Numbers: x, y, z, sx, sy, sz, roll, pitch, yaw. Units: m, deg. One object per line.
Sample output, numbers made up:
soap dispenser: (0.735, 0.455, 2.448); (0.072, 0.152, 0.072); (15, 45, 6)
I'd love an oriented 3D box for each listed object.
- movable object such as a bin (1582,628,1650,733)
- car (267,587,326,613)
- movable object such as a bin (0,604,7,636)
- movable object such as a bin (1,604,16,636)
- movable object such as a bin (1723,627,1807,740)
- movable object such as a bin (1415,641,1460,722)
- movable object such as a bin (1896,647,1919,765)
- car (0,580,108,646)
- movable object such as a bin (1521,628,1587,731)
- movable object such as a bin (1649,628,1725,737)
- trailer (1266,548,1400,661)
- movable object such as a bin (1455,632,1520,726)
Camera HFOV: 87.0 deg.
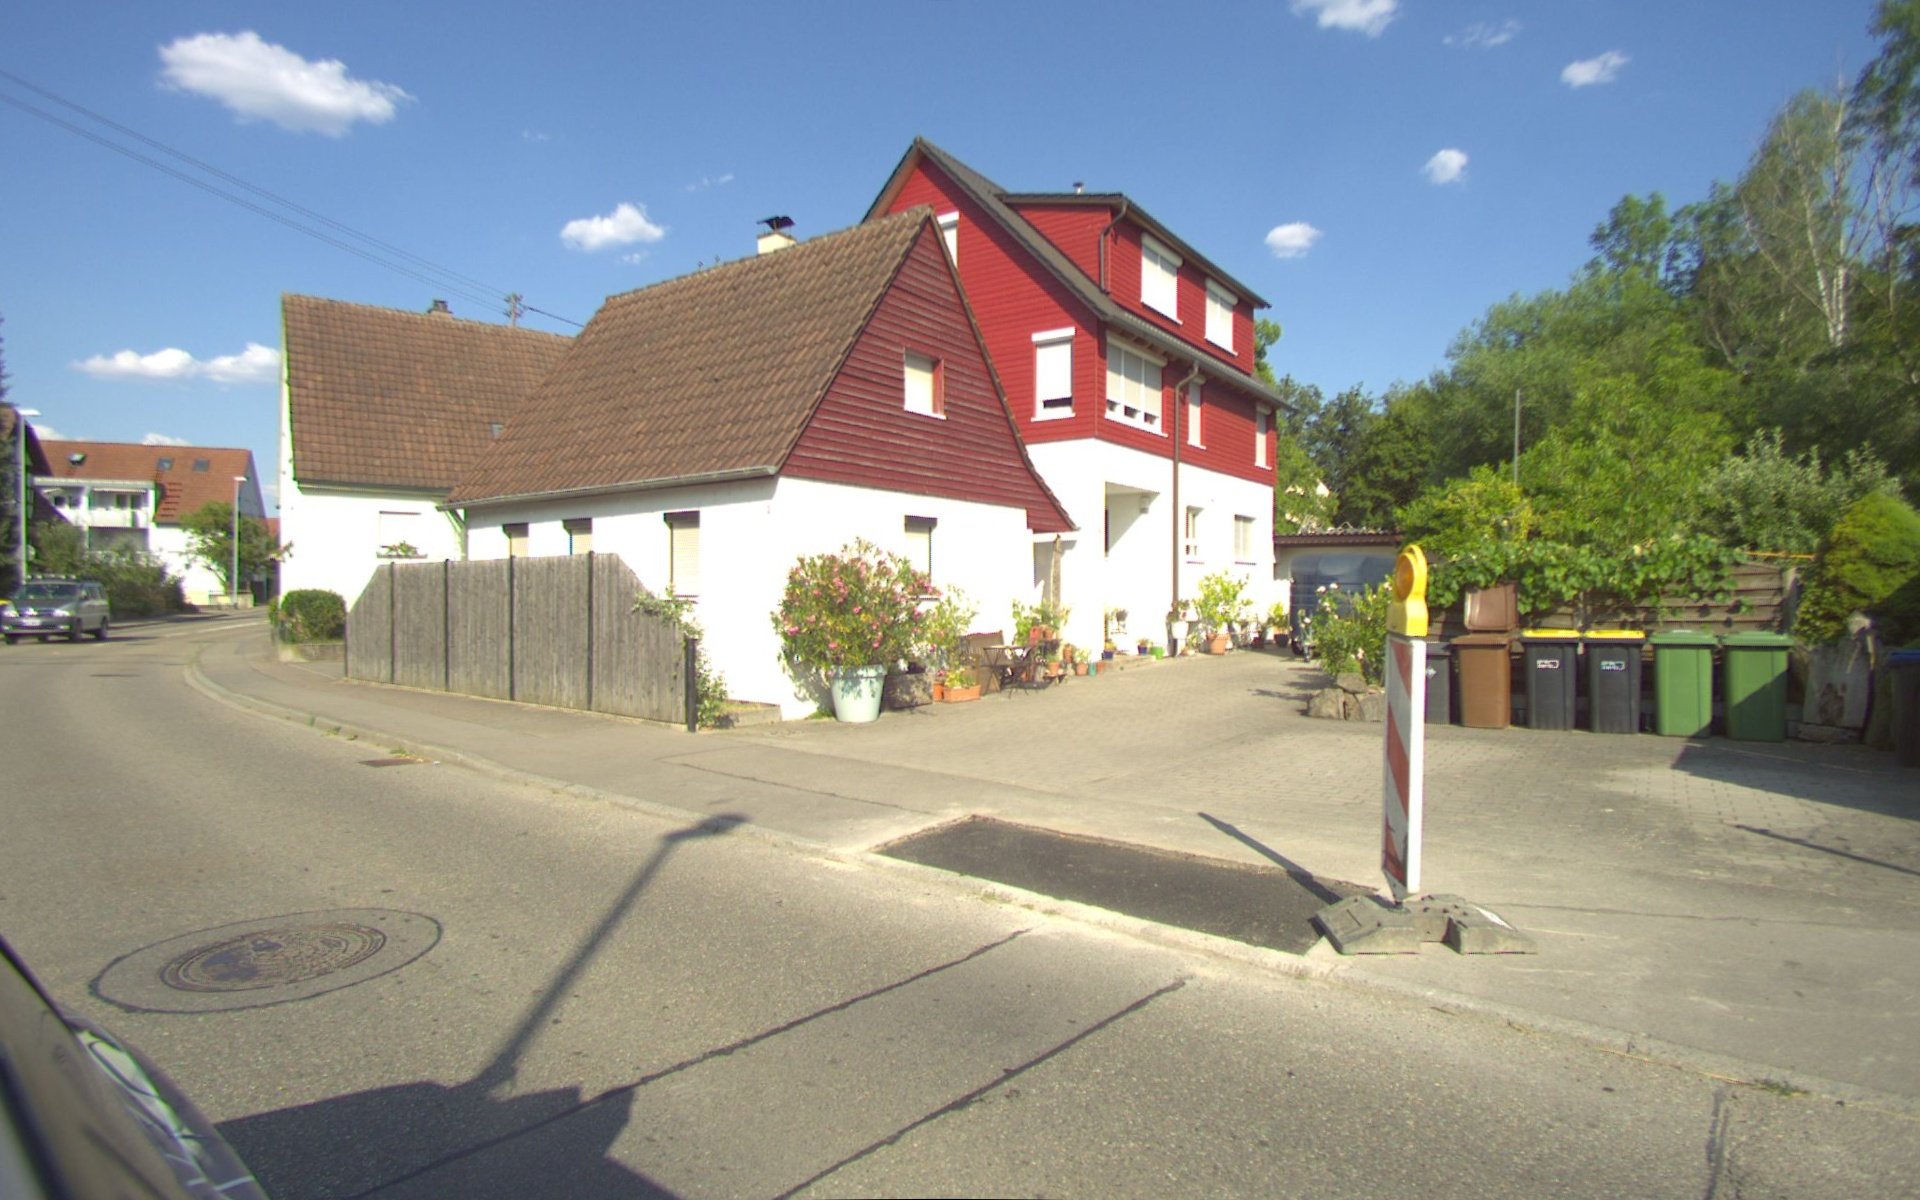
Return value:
movable object such as a bin: (6.941, 0.835, 10.703); (0.549, 1.058, 0.542); (-2, -1, 36)
car: (-44.824, 0.032, 68.506); (1.942, 1.669, 4.009); (2, -1, -11)
movable object such as a bin: (-33.721, 0.700, 35.479); (0.330, 1.117, 0.440); (0, 0, -27)
movable object such as a bin: (-34.014, 0.705, 36.163); (0.289, 1.117, 0.387); (0, 0, -27)
movable object such as a bin: (7.930, 0.808, 9.989); (0.591, 1.058, 0.542); (-2, -1, 36)
movable object such as a bin: (5.497, 0.927, 11.649); (0.370, 0.889, 0.459); (-2, -1, 36)
movable object such as a bin: (8.043, 0.859, 8.235); (0.593, 0.925, 0.585); (-2, -1, 42)
car: (-29.636, 0.411, 33.110); (1.790, 2.015, 4.836); (0, 0, -29)
movable object such as a bin: (6.465, 0.847, 11.011); (0.549, 1.058, 0.542); (-2, -1, 36)
movable object such as a bin: (7.432, 0.823, 10.353); (0.591, 1.058, 0.542); (-2, -1, 36)
trailer: (8.104, 0.076, 21.770); (1.925, 2.182, 3.956); (1, 1, 32)
movable object such as a bin: (5.902, 0.866, 11.323); (0.549, 0.997, 0.542); (-2, -1, 36)
